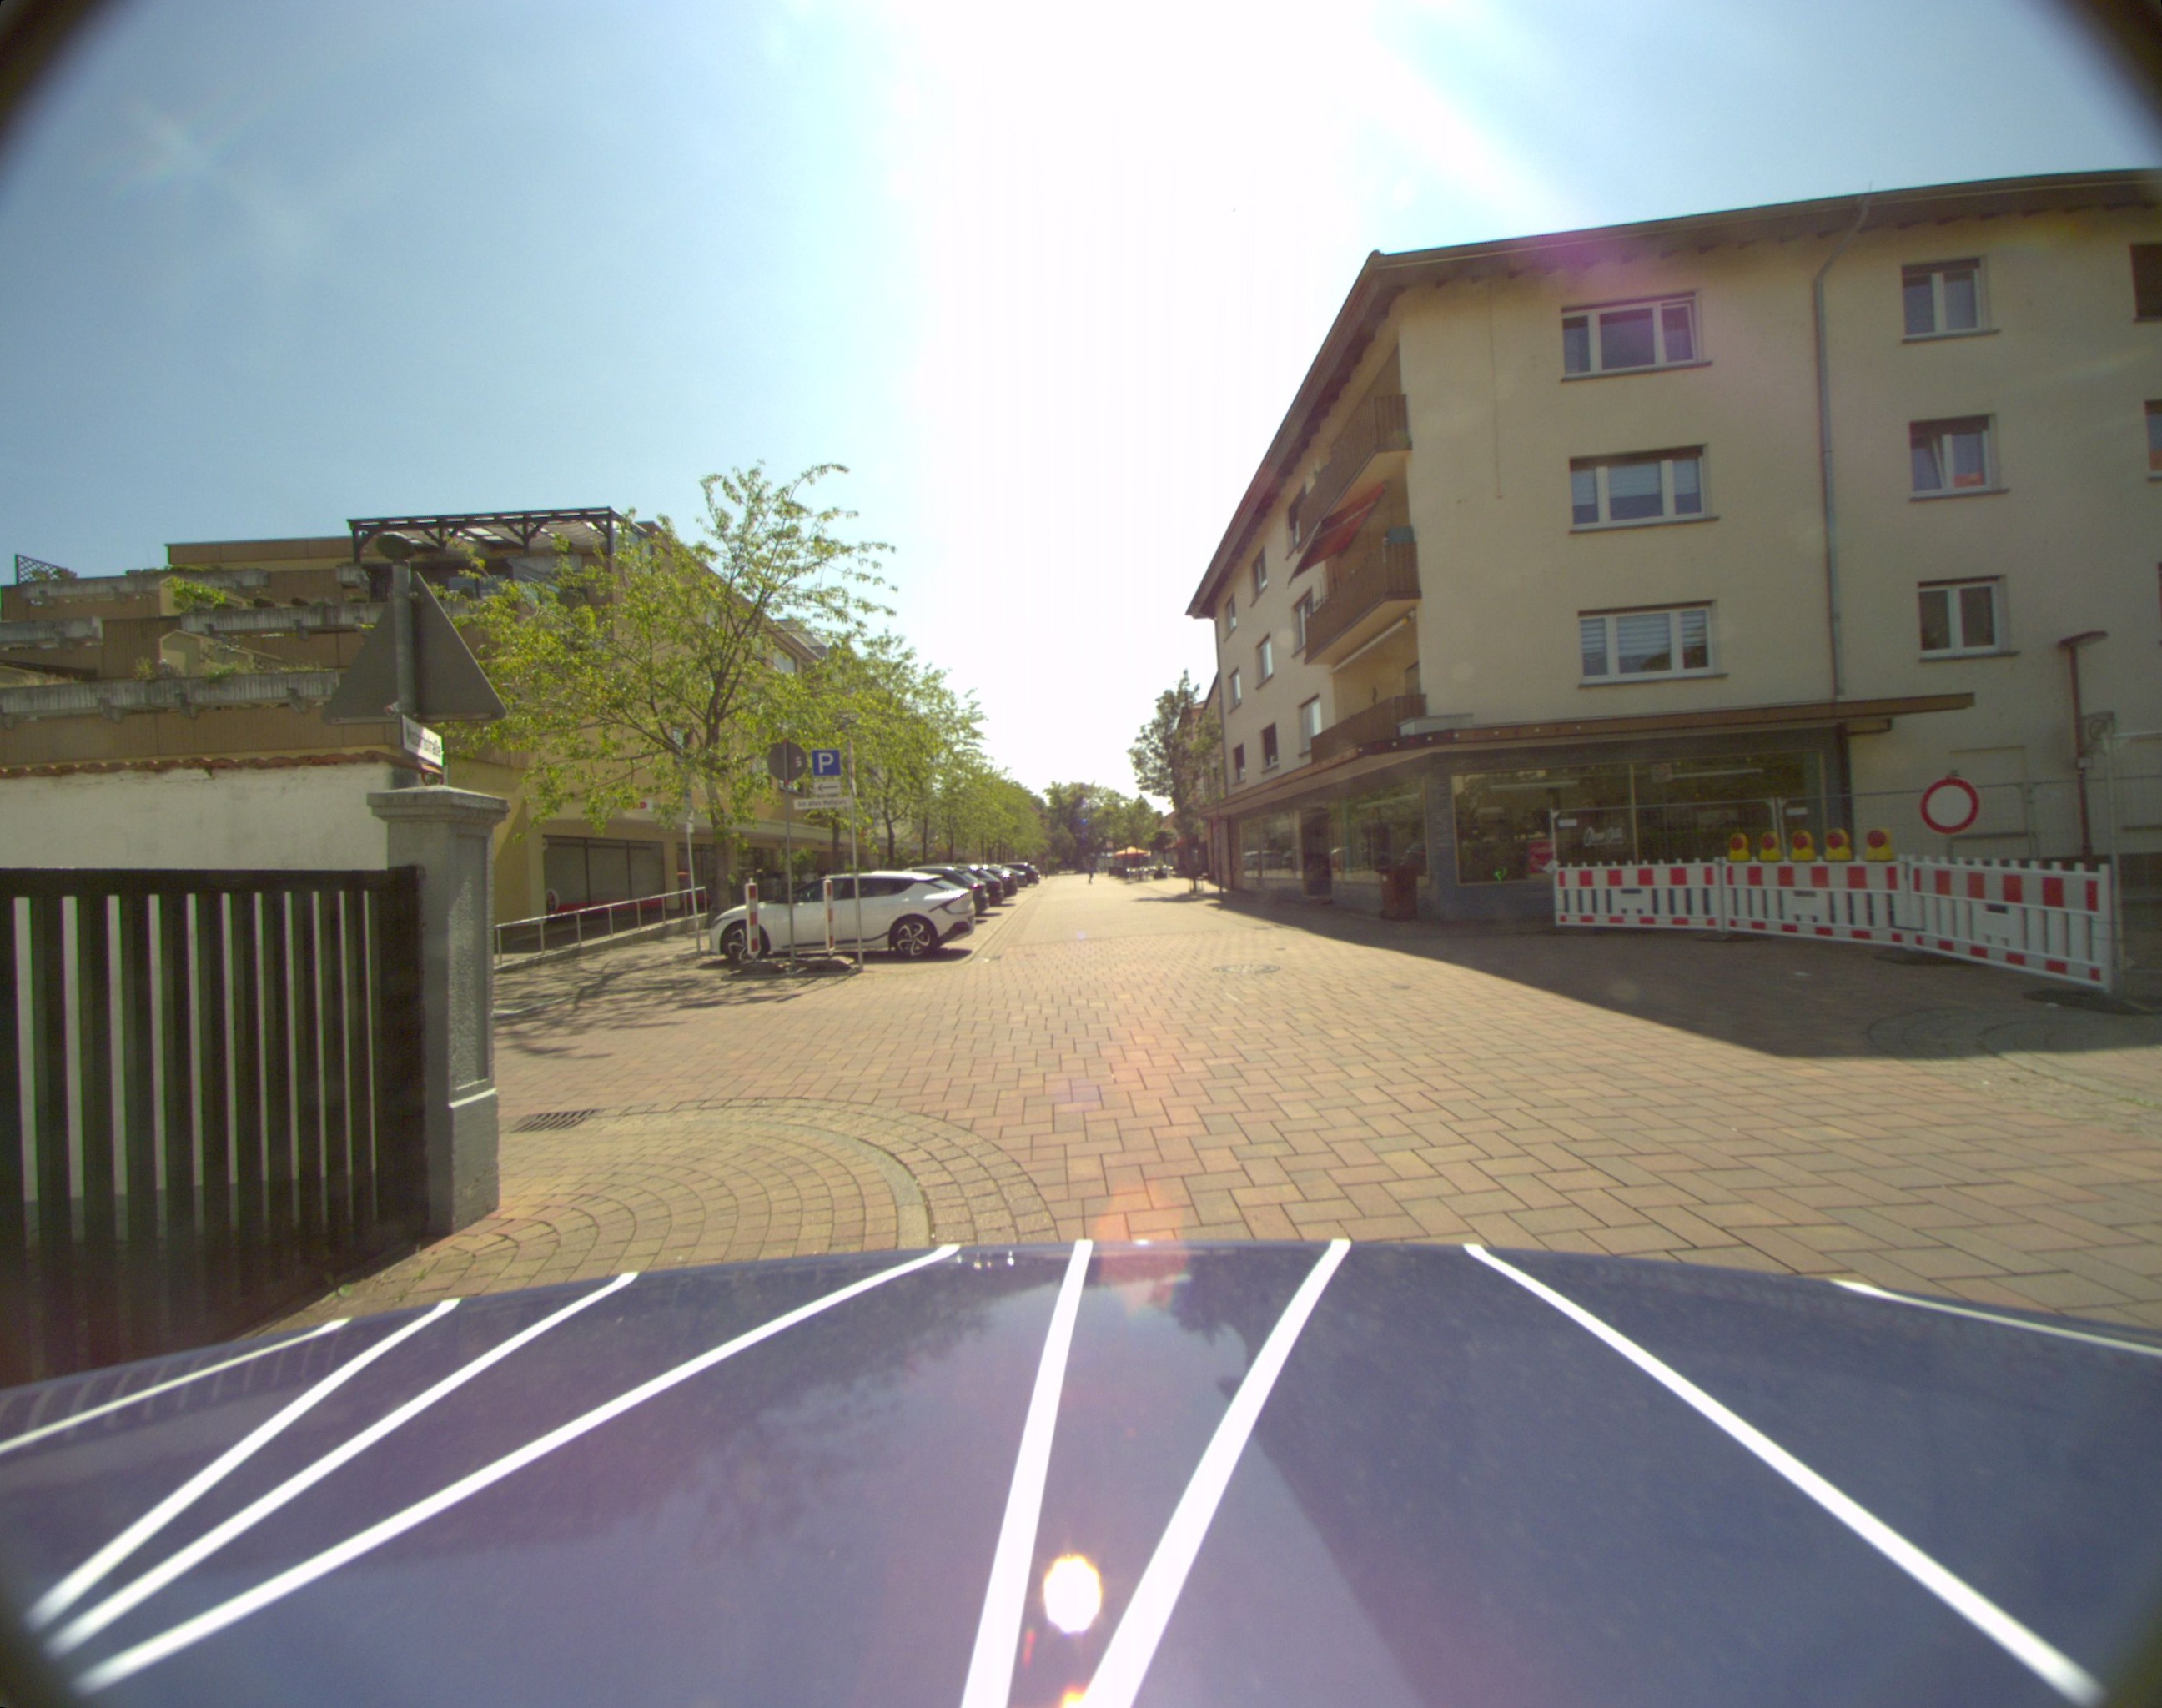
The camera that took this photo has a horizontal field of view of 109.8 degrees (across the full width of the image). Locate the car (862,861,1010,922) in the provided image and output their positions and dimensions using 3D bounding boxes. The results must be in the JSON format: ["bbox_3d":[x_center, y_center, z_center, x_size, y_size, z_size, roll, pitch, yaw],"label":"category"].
[{"bbox_3d":[-4.481,1.136,24.062,4.291,1.671,2.000,-2,0,-3],"label":"car"}]

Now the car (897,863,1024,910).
[{"bbox_3d":[-4.569,1.218,29.223,4.519,1.579,1.850,-2,0,1],"label":"car"}]

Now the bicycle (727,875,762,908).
[{"bbox_3d":[-12.582,1.389,28.493,0.413,1.117,1.774,-4,0,1],"label":"bicycle"}]

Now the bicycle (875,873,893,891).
[{"bbox_3d":[-12.843,1.796,49.496,0.643,1.075,1.866,-4,0,-1],"label":"bicycle"}]

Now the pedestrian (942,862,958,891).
[{"bbox_3d":[-8.111,1.380,47.131,0.632,1.762,0.685,-4,0,-39],"label":"pedestrian"}]

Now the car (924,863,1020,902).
[{"bbox_3d":[-4.834,1.254,34.030,4.038,1.602,1.681,-1,0,-2],"label":"car"}]

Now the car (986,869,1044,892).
[{"bbox_3d":[-5.390,2.192,62.459,4.586,1.534,1.807,-4,-1,-1],"label":"car"}]

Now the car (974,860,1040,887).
[{"bbox_3d":[-4.926,1.309,51.108,4.255,1.608,1.756,-2,0,-2],"label":"car"}]

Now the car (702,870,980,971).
[{"bbox_3d":[-4.191,1.155,13.825,4.452,1.566,1.789,-2,0,-1],"label":"car"}]

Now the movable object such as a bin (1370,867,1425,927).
[{"bbox_3d":[6.037,0.803,14.499,0.657,1.064,0.663,-4,0,-8],"label":"movable object such as a bin"}]

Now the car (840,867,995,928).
[{"bbox_3d":[-4.474,1.187,21.285,3.954,1.525,1.823,-1,0,-2],"label":"car"}]

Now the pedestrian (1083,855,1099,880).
[{"bbox_3d":[0.718,0.990,54.730,0.758,1.770,0.872,-3,0,35],"label":"pedestrian"}]

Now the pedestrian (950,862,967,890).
[{"bbox_3d":[-7.812,1.389,48.473,0.614,1.720,0.649,-4,1,33],"label":"pedestrian"}]

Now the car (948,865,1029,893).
[{"bbox_3d":[-5.491,1.437,44.961,4.391,1.454,1.888,-2,0,-20],"label":"car"}]
